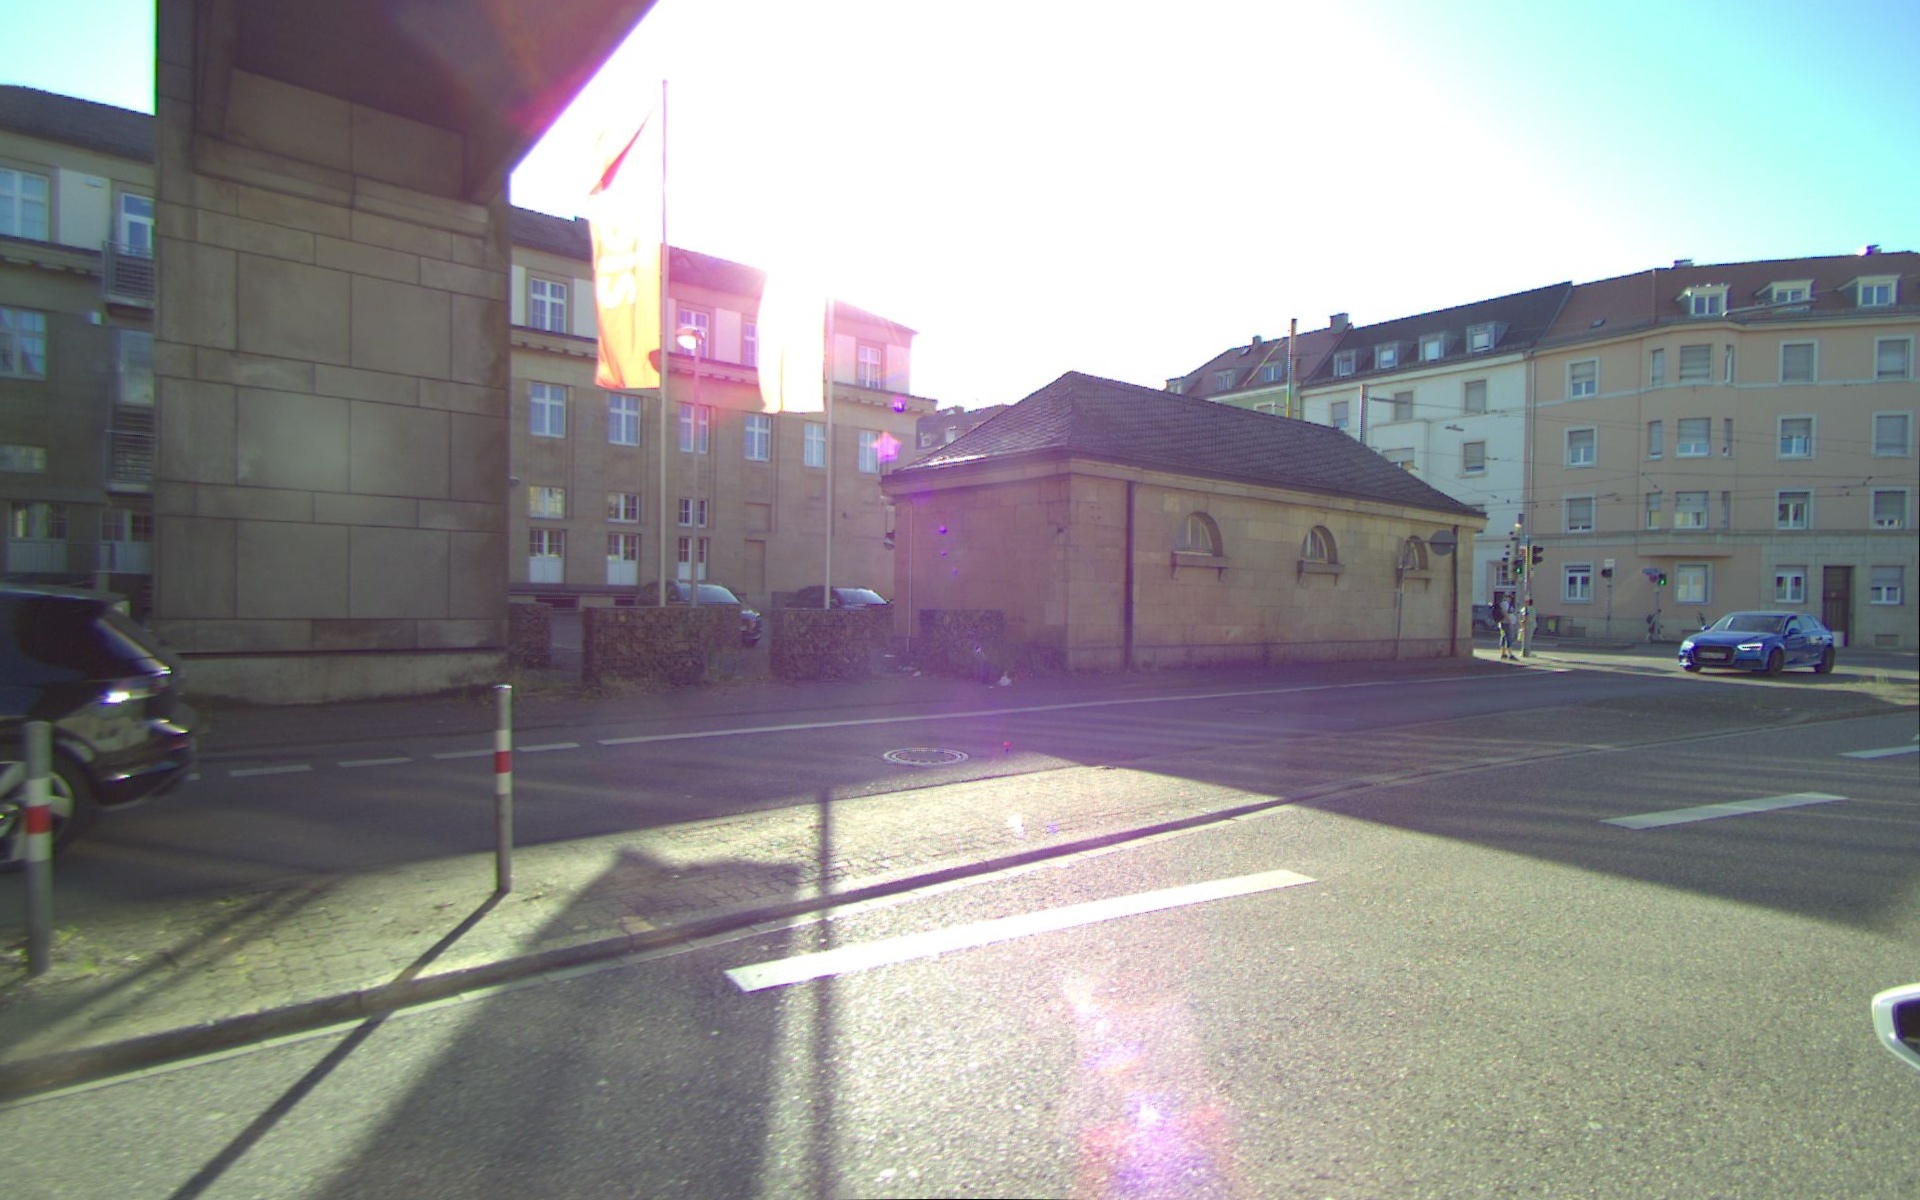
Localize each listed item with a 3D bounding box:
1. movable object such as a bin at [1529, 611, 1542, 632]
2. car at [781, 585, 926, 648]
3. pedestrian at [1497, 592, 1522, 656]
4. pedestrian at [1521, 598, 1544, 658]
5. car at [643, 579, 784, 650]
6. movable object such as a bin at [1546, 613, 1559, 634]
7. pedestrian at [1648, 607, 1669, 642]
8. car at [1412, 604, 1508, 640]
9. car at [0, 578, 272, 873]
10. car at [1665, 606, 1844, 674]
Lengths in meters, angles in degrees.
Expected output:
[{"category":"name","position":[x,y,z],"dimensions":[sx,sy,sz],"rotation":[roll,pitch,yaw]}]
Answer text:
[{"category":"movable object such as a bin","position":[29.859,1.129,52.100],"dimensions":[0.478,1.080,0.445],"rotation":[1,1,-39]},{"category":"car","position":[-2.732,0.364,25.079],"dimensions":[1.795,1.417,3.956],"rotation":[1,1,-38]},{"category":"pedestrian","position":[14.581,0.638,26.657],"dimensions":[0.505,1.662,0.625],"rotation":[2,1,25]},{"category":"pedestrian","position":[16.286,0.788,28.583],"dimensions":[0.480,1.662,0.625],"rotation":[2,1,25]},{"category":"car","position":[-5.946,0.298,23.892],"dimensions":[1.830,1.449,3.957],"rotation":[1,1,-37]},{"category":"movable object such as a bin","position":[30.369,1.198,51.478],"dimensions":[0.478,1.046,0.445],"rotation":[1,1,-39]},{"category":"pedestrian","position":[32.853,1.148,47.250],"dimensions":[0.707,1.584,0.676],"rotation":[2,1,30]},{"category":"car","position":[24.735,1.060,49.729],"dimensions":[3.828,1.595,1.918],"rotation":[2,1,45]},{"category":"car","position":[-6.055,0.589,4.905],"dimensions":[4.375,1.424,1.739],"rotation":[1,1,-38]},{"category":"car","position":[18.612,0.896,23.495],"dimensions":[4.195,1.409,1.802],"rotation":[1,1,-29]}]
